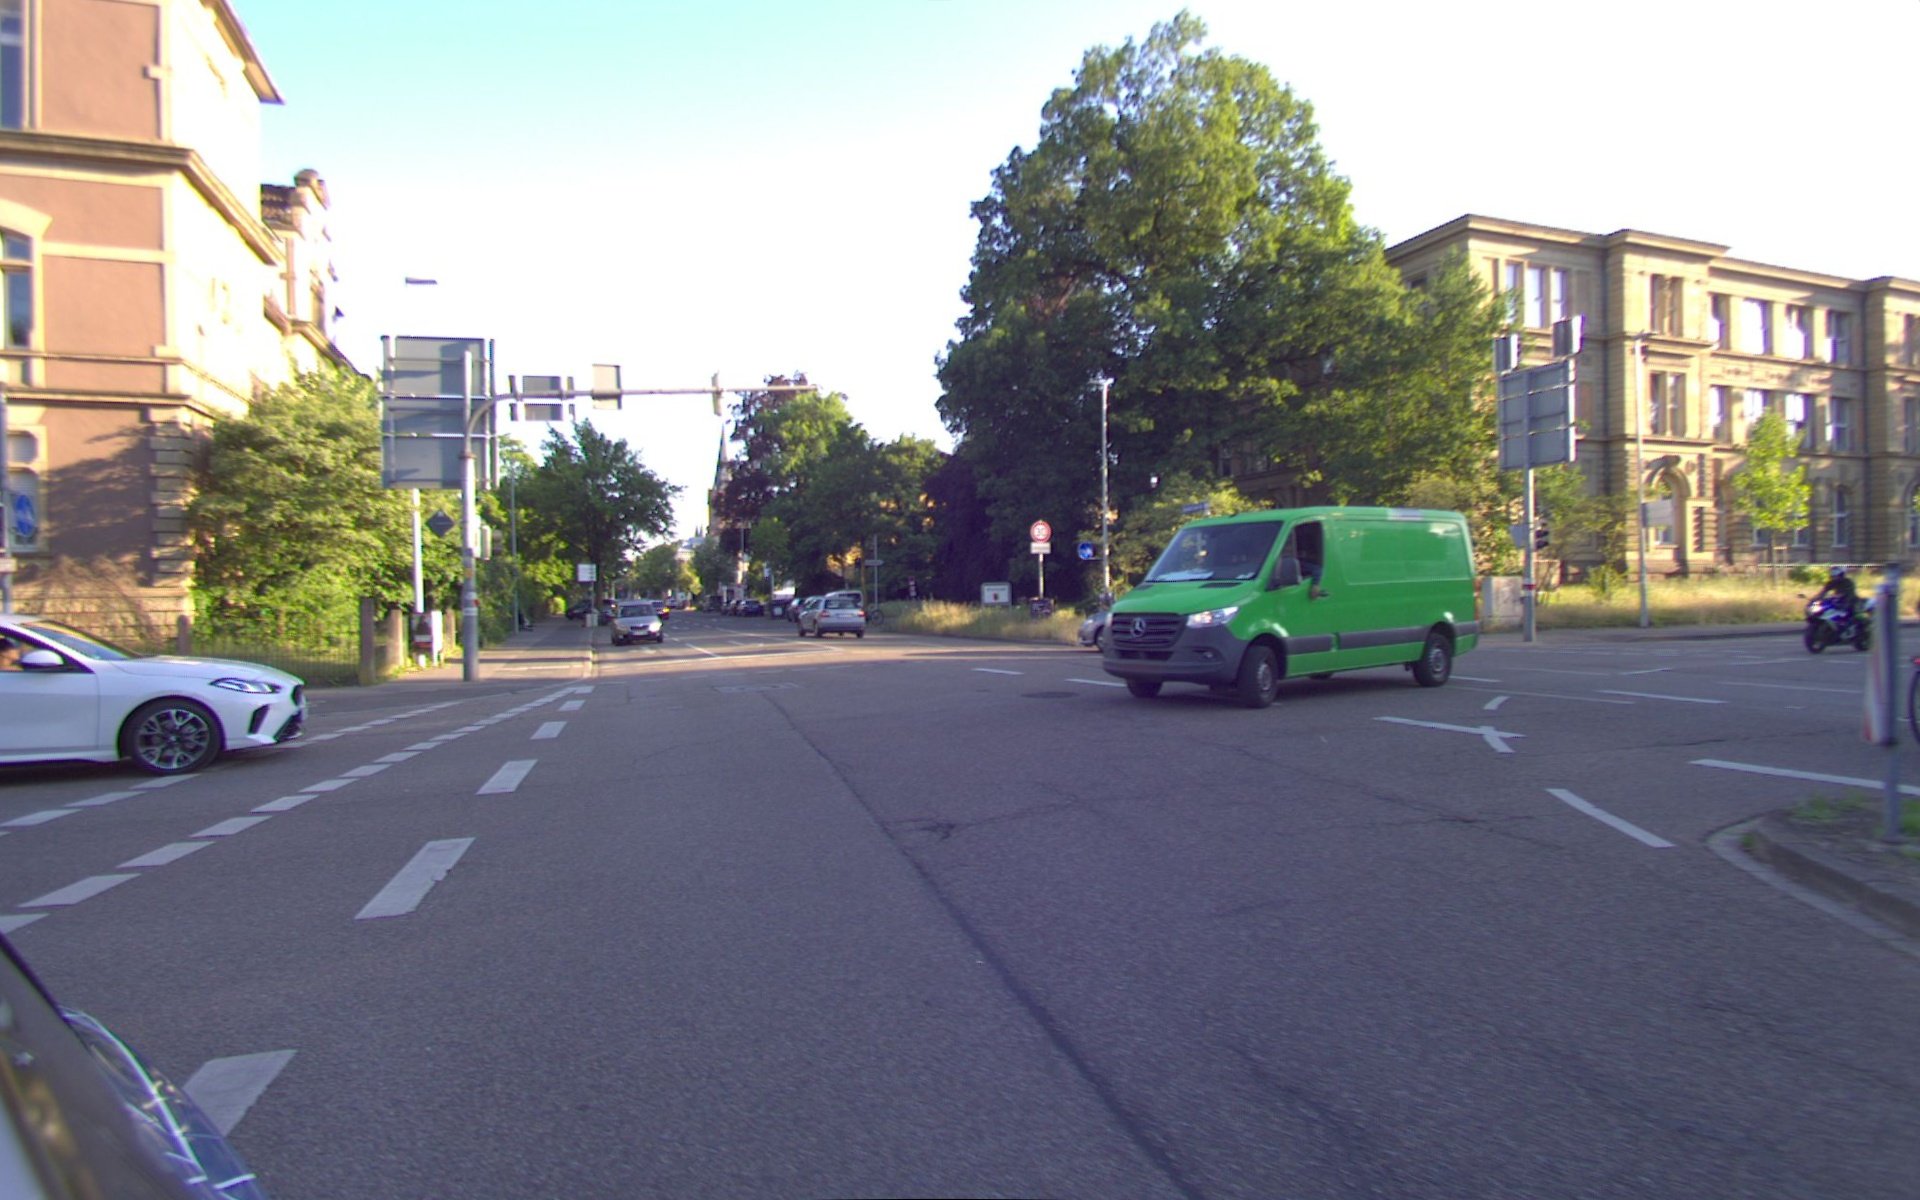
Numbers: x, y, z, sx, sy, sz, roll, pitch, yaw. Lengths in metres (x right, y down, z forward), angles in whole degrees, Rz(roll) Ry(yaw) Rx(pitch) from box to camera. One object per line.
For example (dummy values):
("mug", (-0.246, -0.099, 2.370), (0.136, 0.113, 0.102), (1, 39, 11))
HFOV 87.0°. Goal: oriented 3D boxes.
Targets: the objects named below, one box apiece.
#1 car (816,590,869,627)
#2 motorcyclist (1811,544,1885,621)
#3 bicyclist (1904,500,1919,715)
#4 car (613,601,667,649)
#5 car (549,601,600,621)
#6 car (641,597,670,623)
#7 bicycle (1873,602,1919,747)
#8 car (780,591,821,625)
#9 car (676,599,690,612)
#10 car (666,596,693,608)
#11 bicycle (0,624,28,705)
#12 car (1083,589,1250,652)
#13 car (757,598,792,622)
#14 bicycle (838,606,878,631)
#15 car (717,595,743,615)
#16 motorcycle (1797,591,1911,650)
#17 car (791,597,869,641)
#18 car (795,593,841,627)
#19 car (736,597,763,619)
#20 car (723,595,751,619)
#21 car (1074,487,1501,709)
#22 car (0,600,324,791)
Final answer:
("car", (-6.318, 0.464, 53.952), (1.830, 1.859, 4.134), (-1, 0, -21))
("motorcyclist", (16.285, -0.315, 18.572), (0.692, 1.368, 0.754), (-1, 0, -20))
("bicyclist", (7.936, 0.055, 7.777), (0.784, 1.679, 0.703), (-1, 1, -19))
("car", (-11.540, 0.851, 36.326), (1.662, 1.521, 3.712), (-4, 1, -19))
("car", (-32.268, 0.895, 84.746), (3.820, 1.519, 1.797), (0, 2, 20))
("car", (-22.684, 0.710, 75.365), (1.966, 1.807, 4.012), (-1, 0, -17))
("bicycle", (8.058, 0.549, 7.825), (1.794, 1.071, 0.703), (-1, 1, -19))
("car", (-10.167, 0.494, 64.363), (1.904, 2.029, 4.013), (-1, 0, -19))
("car", (-38.840, 0.761, 141.863), (1.648, 1.741, 3.648), (-1, 0, -18))
("car", (-40.587, 0.298, 146.289), (3.694, 1.630, 1.828), (-1, 0, -18))
("bicycle", (-14.714, 0.936, 14.322), (2.131, 1.131, 0.691), (-1, 1, -20))
("car", (4.703, 0.463, 23.261), (3.605, 1.338, 1.764), (-1, 0, 12))
("car", (-13.556, 0.689, 73.937), (1.904, 1.655, 4.013), (-1, 0, -19))
("bicycle", (-4.996, 0.901, 49.577), (1.845, 1.165, 0.755), (-1, 2, -16))
("car", (-22.057, 0.445, 96.847), (1.965, 1.829, 4.013), (-1, 2, -19))
("motorcycle", (16.450, 0.358, 18.626), (1.846, 1.009, 0.759), (-1, 0, -20))
("car", (-4.647, 0.648, 35.696), (1.705, 1.419, 4.153), (-1, 0, -22))
("car", (-8.403, 0.559, 59.491), (1.830, 1.859, 4.201), (-1, 0, -20))
("car", (-18.055, 0.653, 86.602), (1.769, 1.741, 4.013), (-1, 1, -19))
("car", (-20.250, 0.592, 91.975), (1.965, 2.028, 4.013), (-1, 2, -20))
("car", (4.373, -0.065, 12.967), (5.842, 2.295, 2.051), (-1, 0, -35))
("car", (-8.071, 0.789, 8.838), (4.116, 1.477, 1.763), (-1, 0, -28))
